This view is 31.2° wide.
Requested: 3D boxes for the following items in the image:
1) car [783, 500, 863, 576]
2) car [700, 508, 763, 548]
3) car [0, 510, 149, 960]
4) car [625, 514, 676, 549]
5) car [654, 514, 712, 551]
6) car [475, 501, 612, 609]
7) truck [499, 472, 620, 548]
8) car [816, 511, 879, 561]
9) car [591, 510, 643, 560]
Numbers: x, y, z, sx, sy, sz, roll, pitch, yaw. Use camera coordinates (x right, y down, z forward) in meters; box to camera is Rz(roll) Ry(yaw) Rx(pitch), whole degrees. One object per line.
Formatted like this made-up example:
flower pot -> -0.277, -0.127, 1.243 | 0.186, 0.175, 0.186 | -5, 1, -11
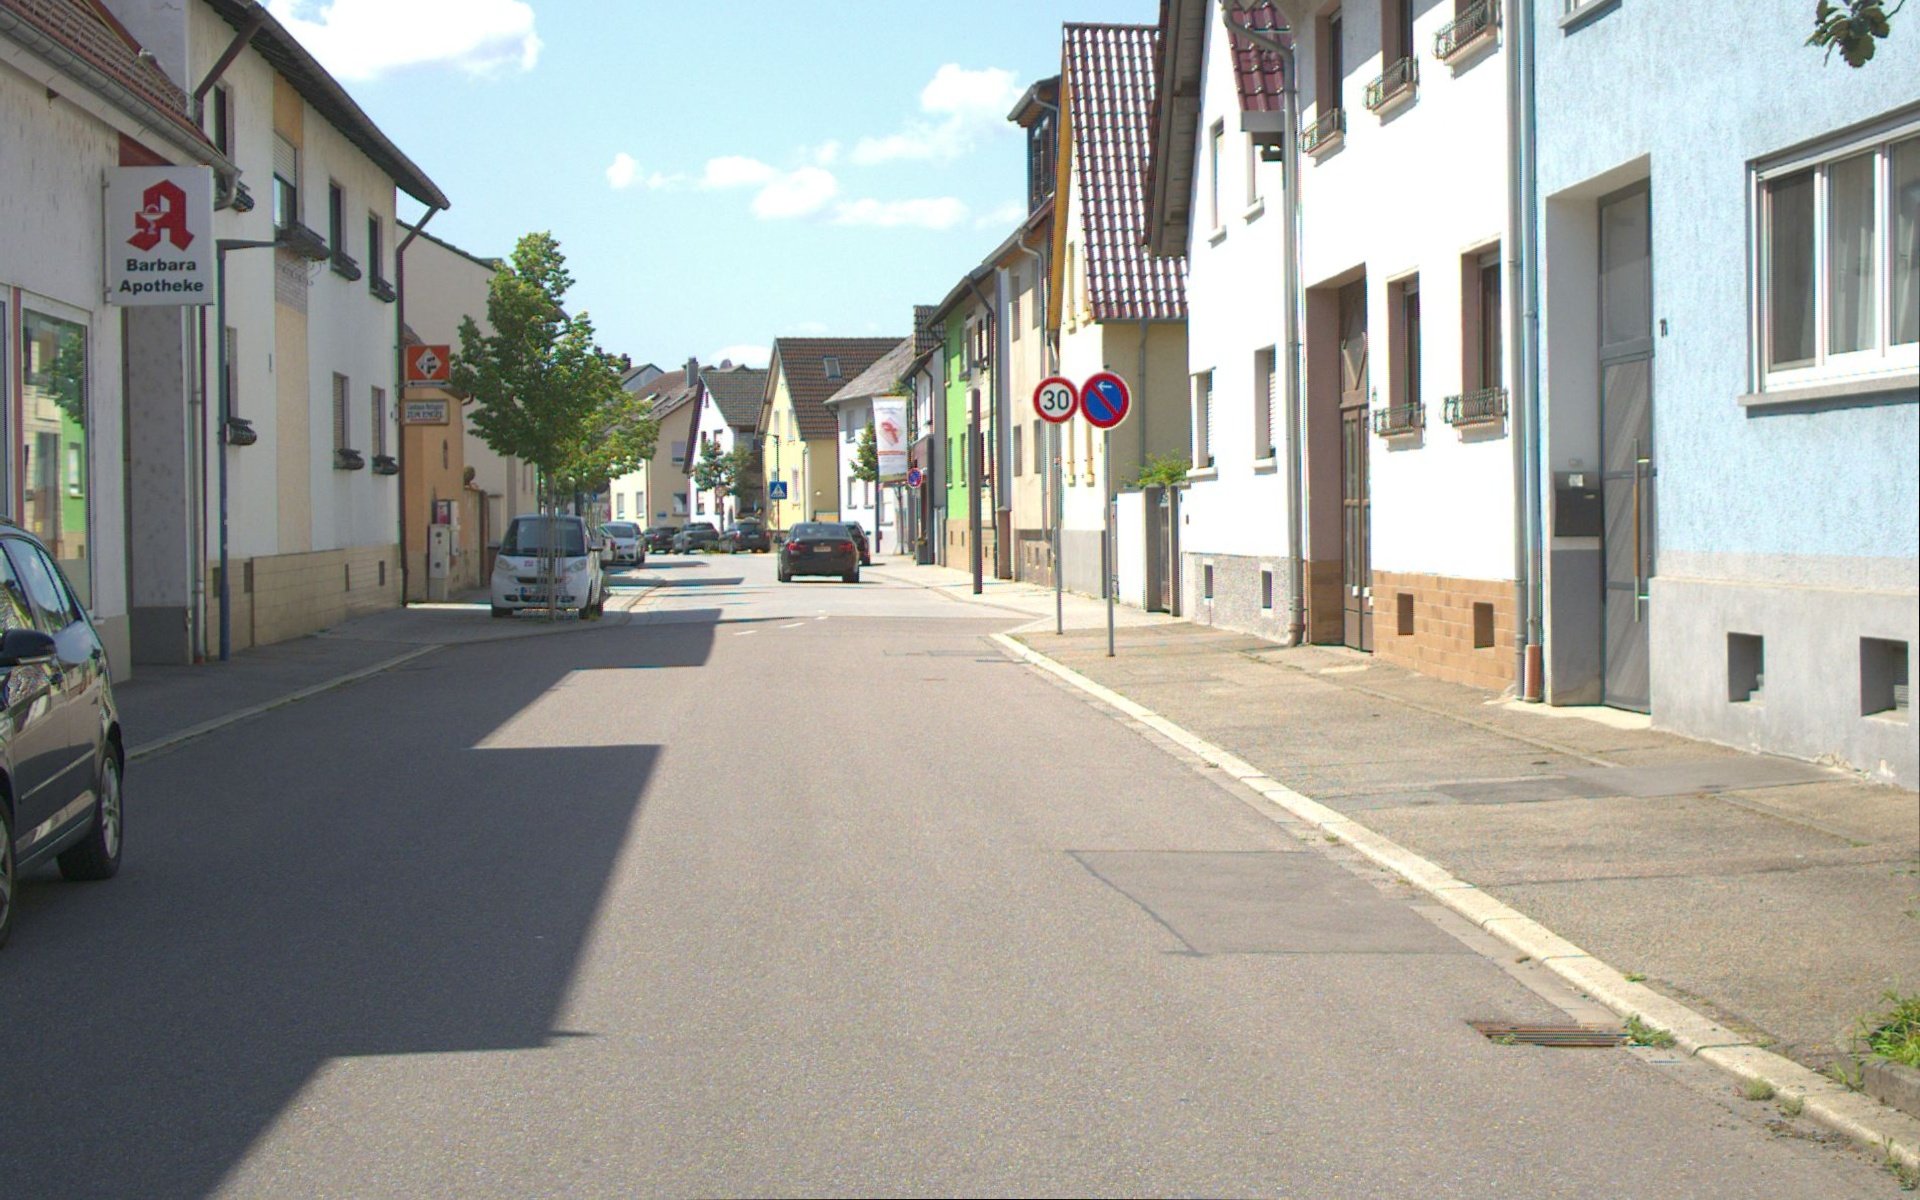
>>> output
car -> -3.339, -1.506, 82.992 | 1.782, 1.747, 4.001 | -1, 1, -4
car -> -10.617, -3.330, 159.281 | 1.782, 1.747, 4.230 | -2, 1, -19
car -> -4.324, 0.468, 13.227 | 1.653, 1.603, 4.062 | -1, 2, -3
car -> -15.885, -3.489, 176.183 | 1.820, 1.747, 4.230 | -2, 1, -15
car -> -13.613, -3.323, 168.744 | 1.820, 1.747, 4.230 | -2, 1, -19
car -> -6.296, -0.713, 52.308 | 1.723, 1.550, 4.173 | 1, 2, -2
truck -> -21.410, -4.719, 182.773 | 3.378, 3.852, 13.930 | -2, 1, -19
car -> -3.697, -2.097, 112.636 | 1.782, 1.558, 4.338 | -1, 1, -5
car -> -12.124, -2.305, 121.286 | 1.734, 1.681, 4.233 | 1, 1, -7
